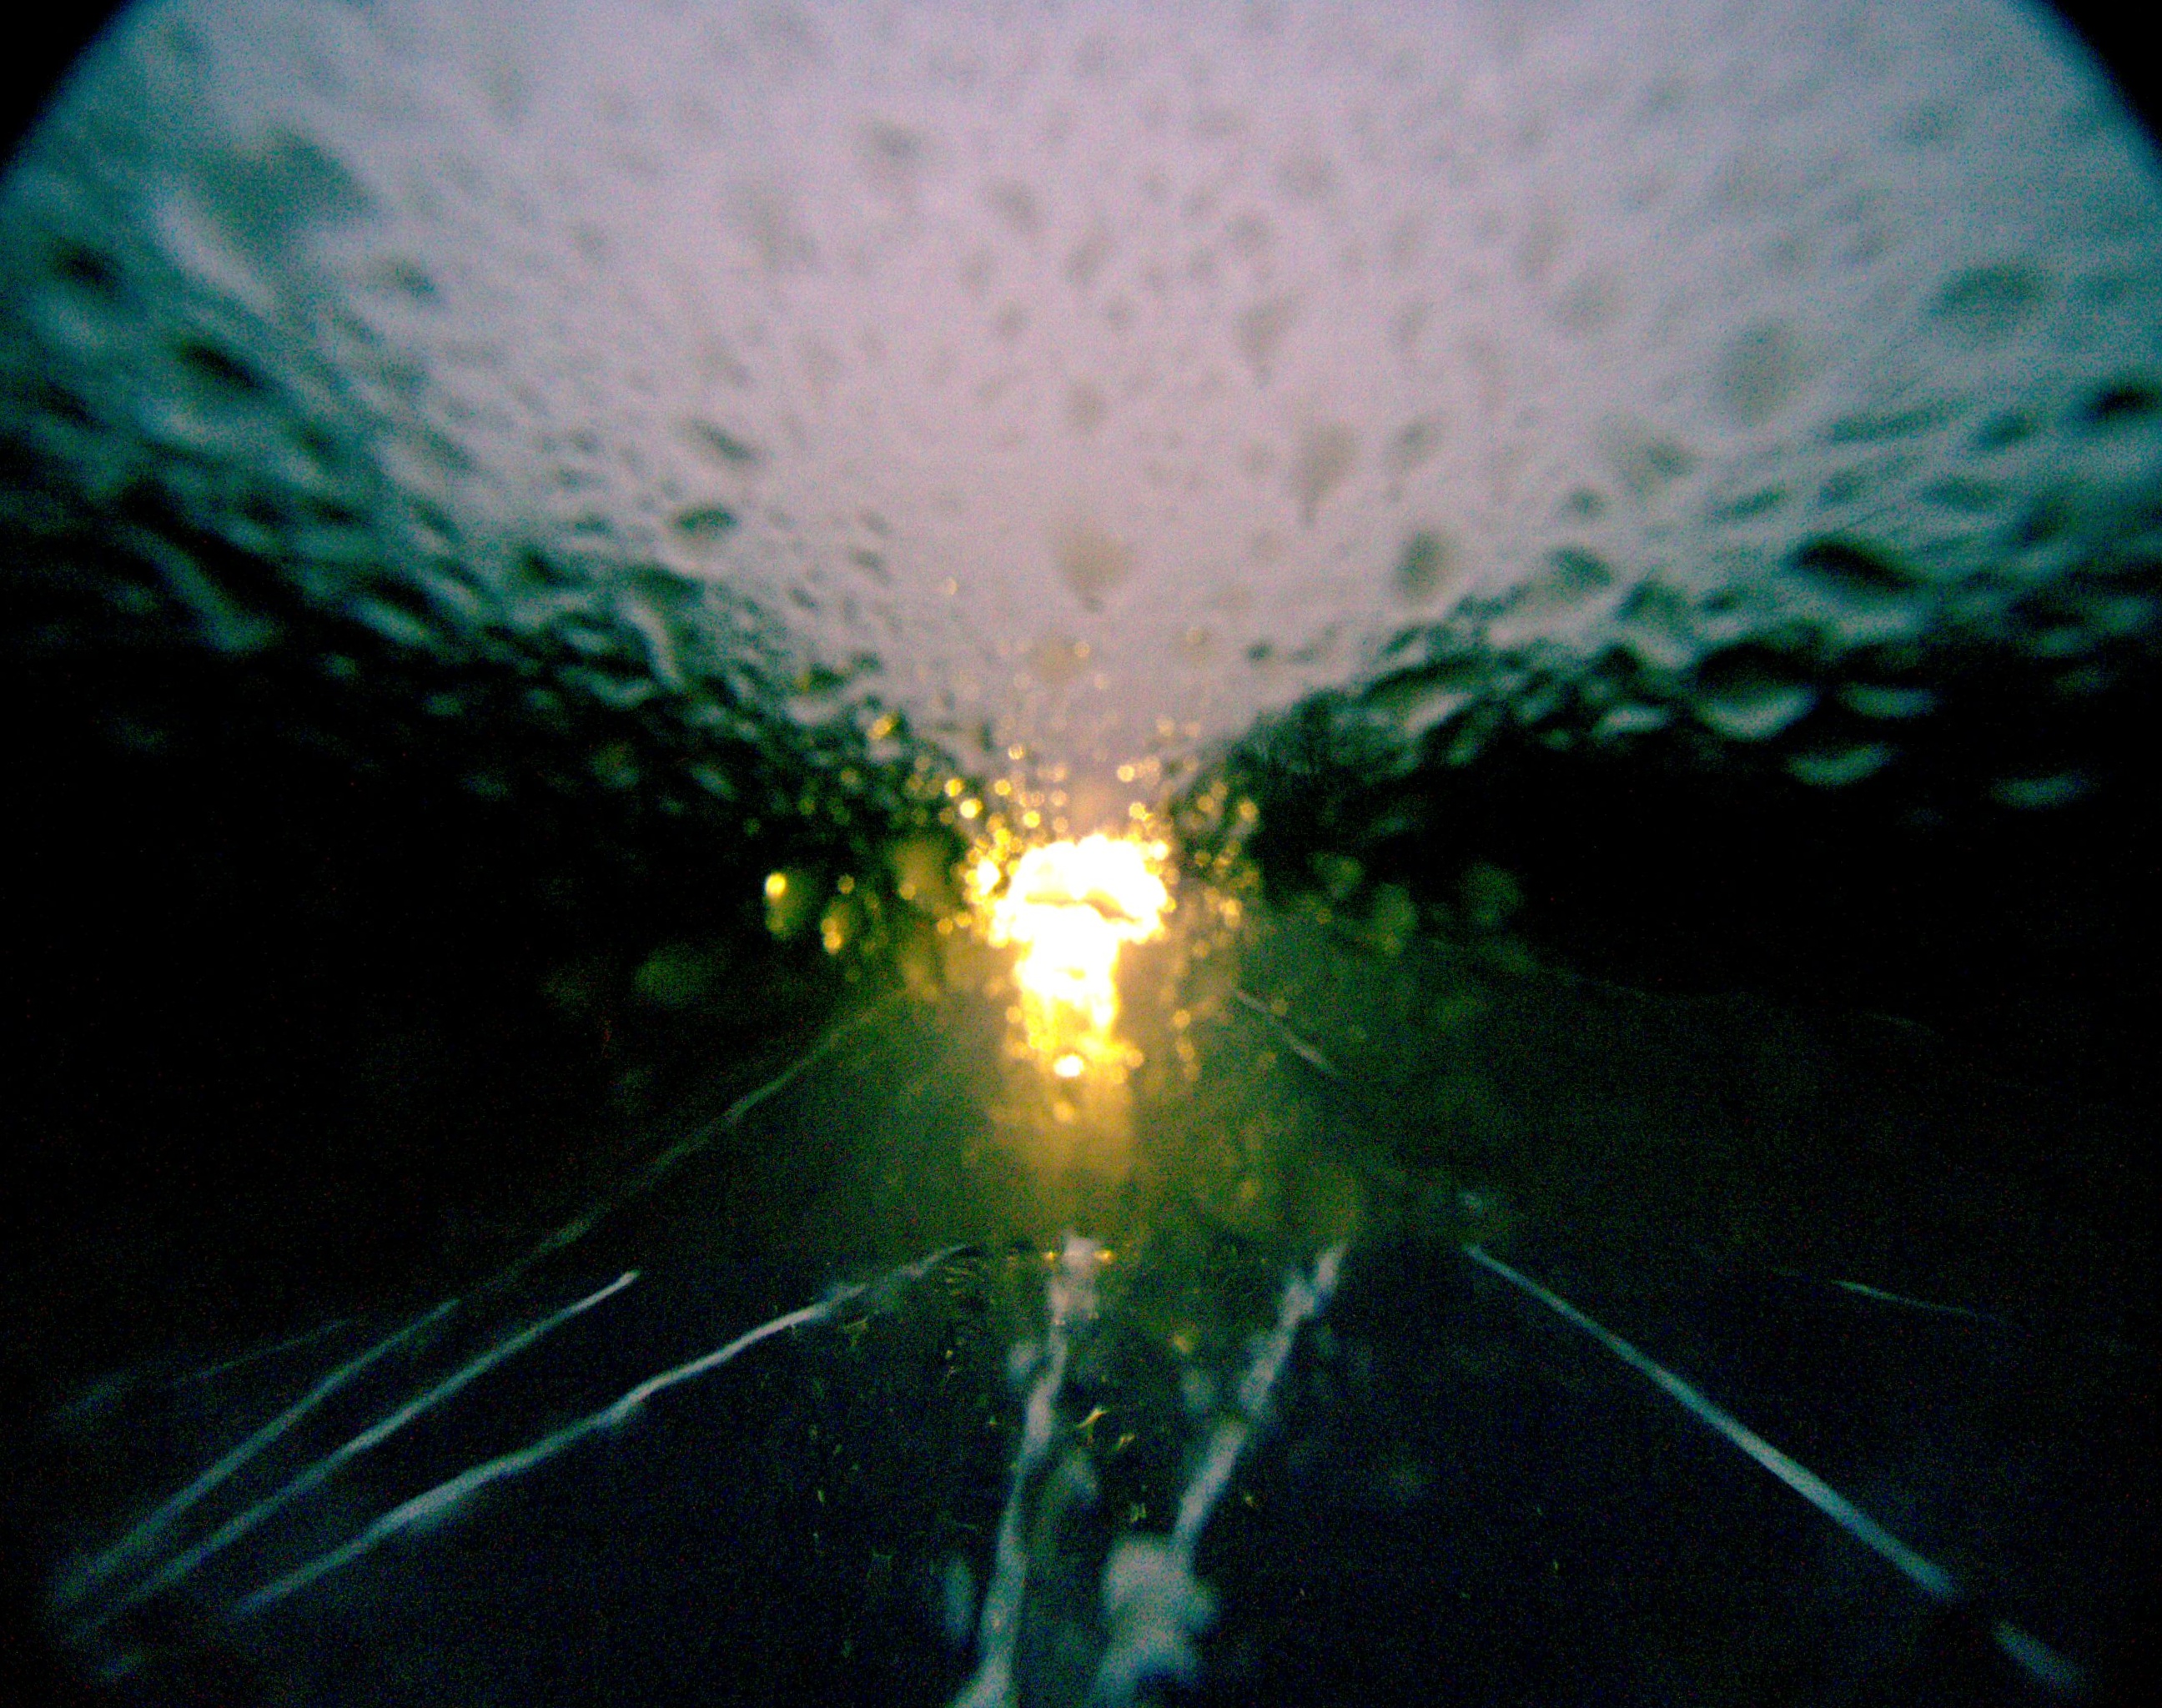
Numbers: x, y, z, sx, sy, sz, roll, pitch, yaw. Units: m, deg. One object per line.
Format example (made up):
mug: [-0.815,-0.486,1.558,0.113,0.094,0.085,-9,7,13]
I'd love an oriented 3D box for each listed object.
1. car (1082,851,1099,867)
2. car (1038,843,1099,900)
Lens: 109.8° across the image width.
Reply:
car: [1.124,0.555,92.104,1.998,1.752,4.371,-2,1,1]
car: [-0.331,0.513,25.542,1.572,1.701,4.001,-2,1,5]
